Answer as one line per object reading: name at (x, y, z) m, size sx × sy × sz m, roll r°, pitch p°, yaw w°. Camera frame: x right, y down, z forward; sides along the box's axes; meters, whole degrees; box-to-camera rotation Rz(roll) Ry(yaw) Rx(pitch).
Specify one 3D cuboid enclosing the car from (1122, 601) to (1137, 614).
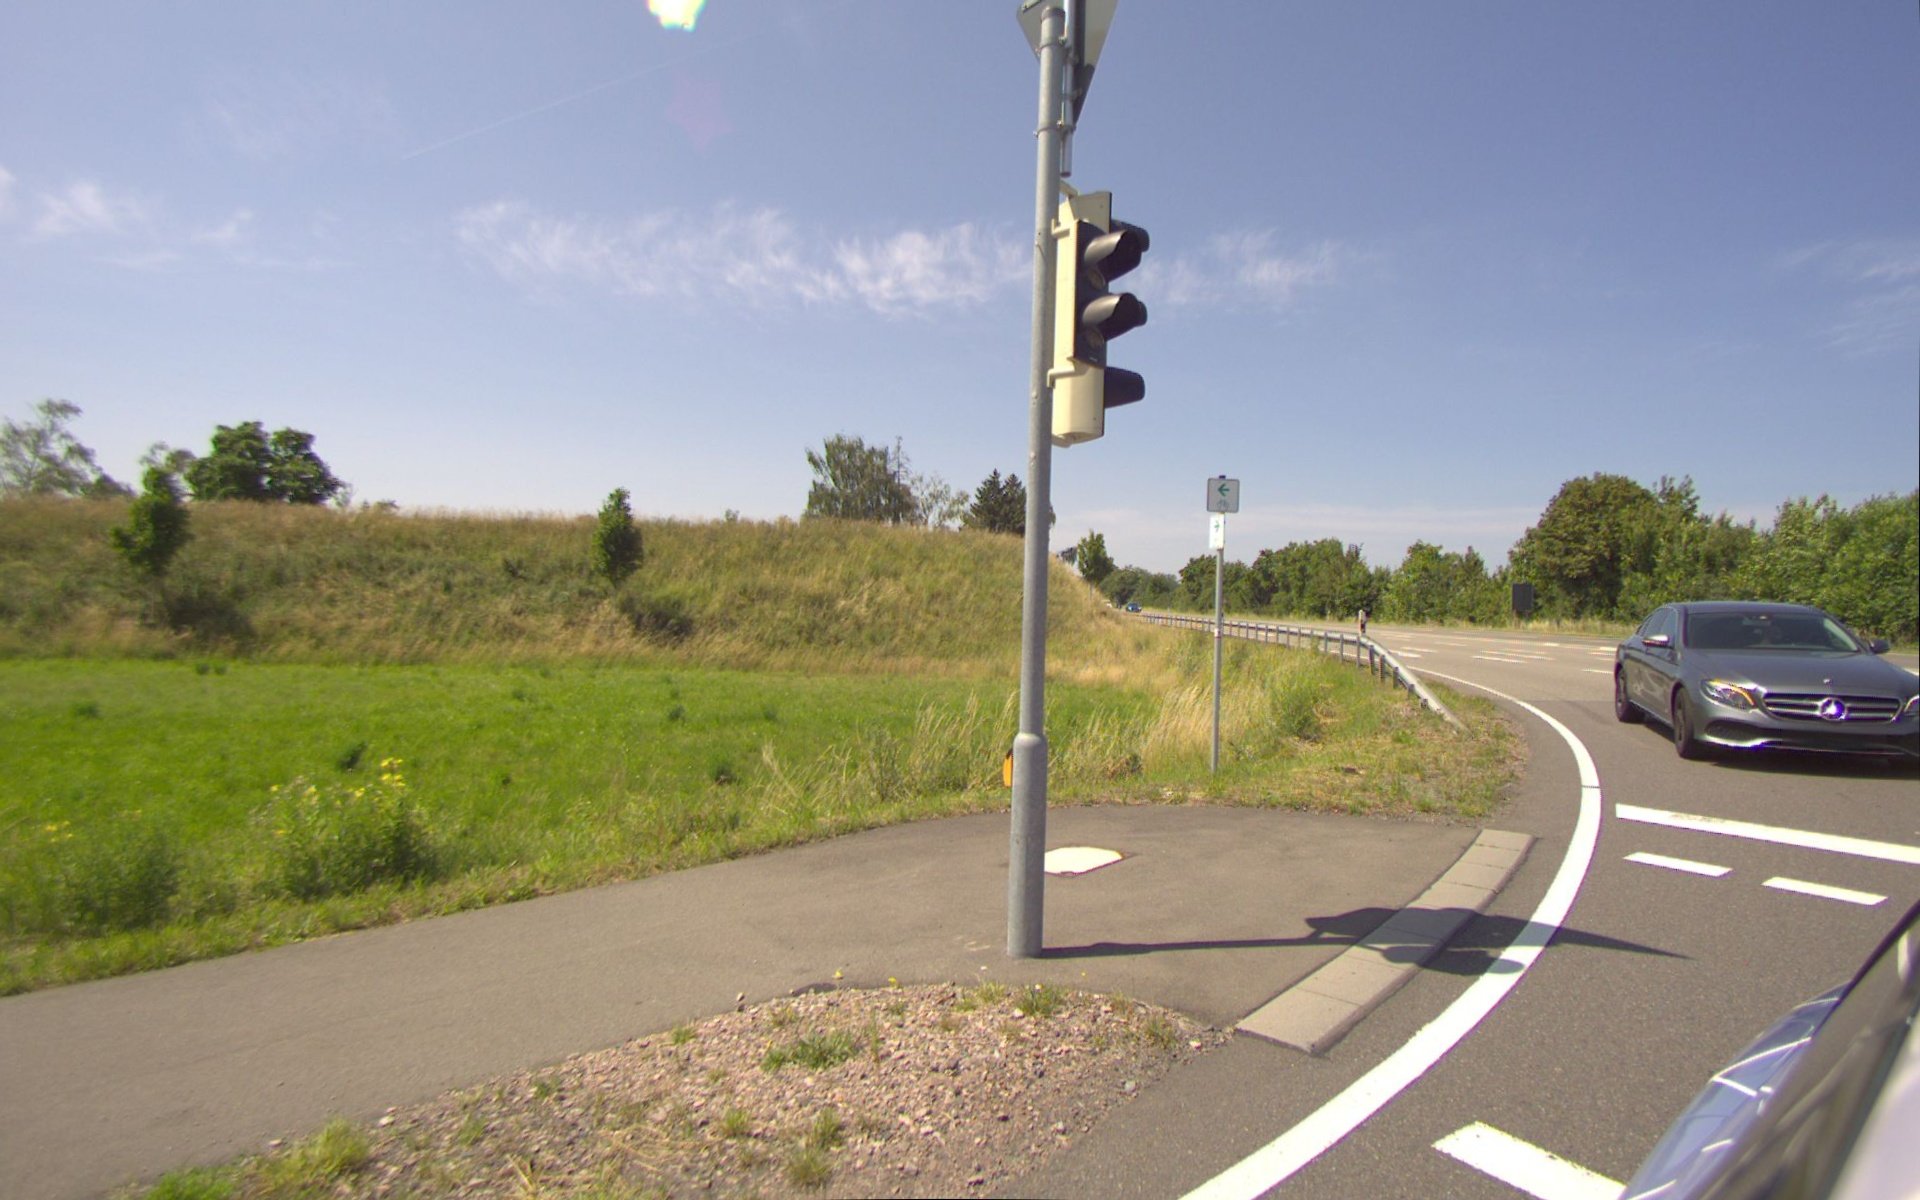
car at (23.486, 1.089, 140.215) m, size 1.771 × 1.705 × 3.994 m, roll -1°, pitch 1°, yaw 6°

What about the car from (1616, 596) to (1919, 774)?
car at (8.341, 0.690, 10.594) m, size 1.875 × 1.465 × 4.486 m, roll 0°, pitch 0°, yaw 25°
